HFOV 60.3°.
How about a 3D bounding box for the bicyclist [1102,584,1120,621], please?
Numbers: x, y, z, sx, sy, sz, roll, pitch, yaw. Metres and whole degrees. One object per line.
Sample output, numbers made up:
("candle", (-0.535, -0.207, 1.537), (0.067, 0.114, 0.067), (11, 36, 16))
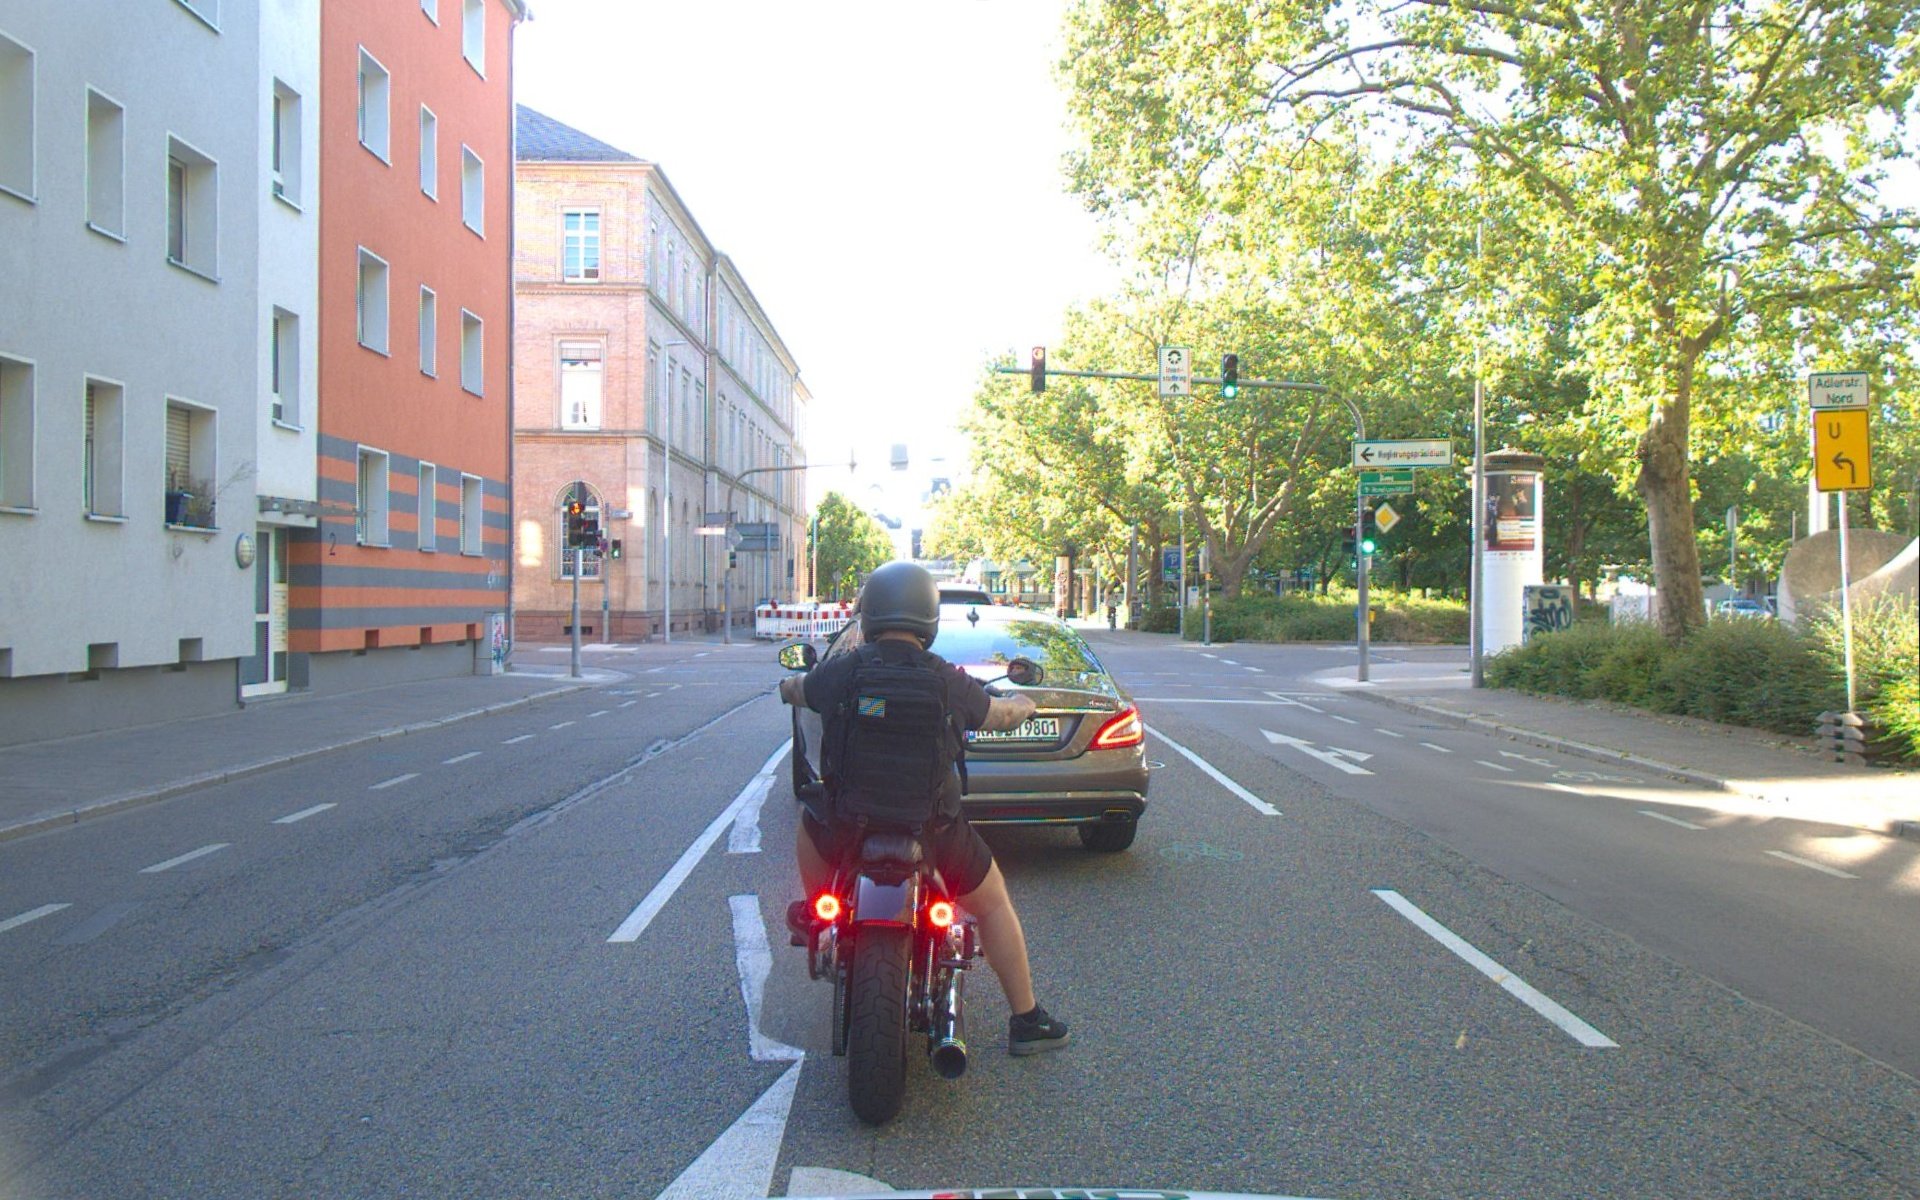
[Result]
("bicyclist", (6.682, 0.126, 73.254), (0.701, 1.610, 0.936), (1, 0, 2))

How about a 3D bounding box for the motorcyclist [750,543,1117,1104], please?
("motorcyclist", (-0.082, 0.651, 5.253), (1.039, 1.610, 0.908), (1, 0, -1))

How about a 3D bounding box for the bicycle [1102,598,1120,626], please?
("bicycle", (6.672, 0.538, 73.206), (0.701, 1.193, 2.177), (1, 0, 3))

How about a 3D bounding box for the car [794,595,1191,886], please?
("car", (-0.028, 0.704, 10.641), (1.867, 1.466, 4.280), (0, 0, -9))

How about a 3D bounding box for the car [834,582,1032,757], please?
("car", (-0.347, 0.610, 16.752), (1.777, 1.563, 3.846), (0, 0, -3))

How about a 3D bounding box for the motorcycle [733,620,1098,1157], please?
("motorcycle", (-0.132, 0.776, 5.522), (0.942, 1.380, 2.319), (1, 0, -1))
